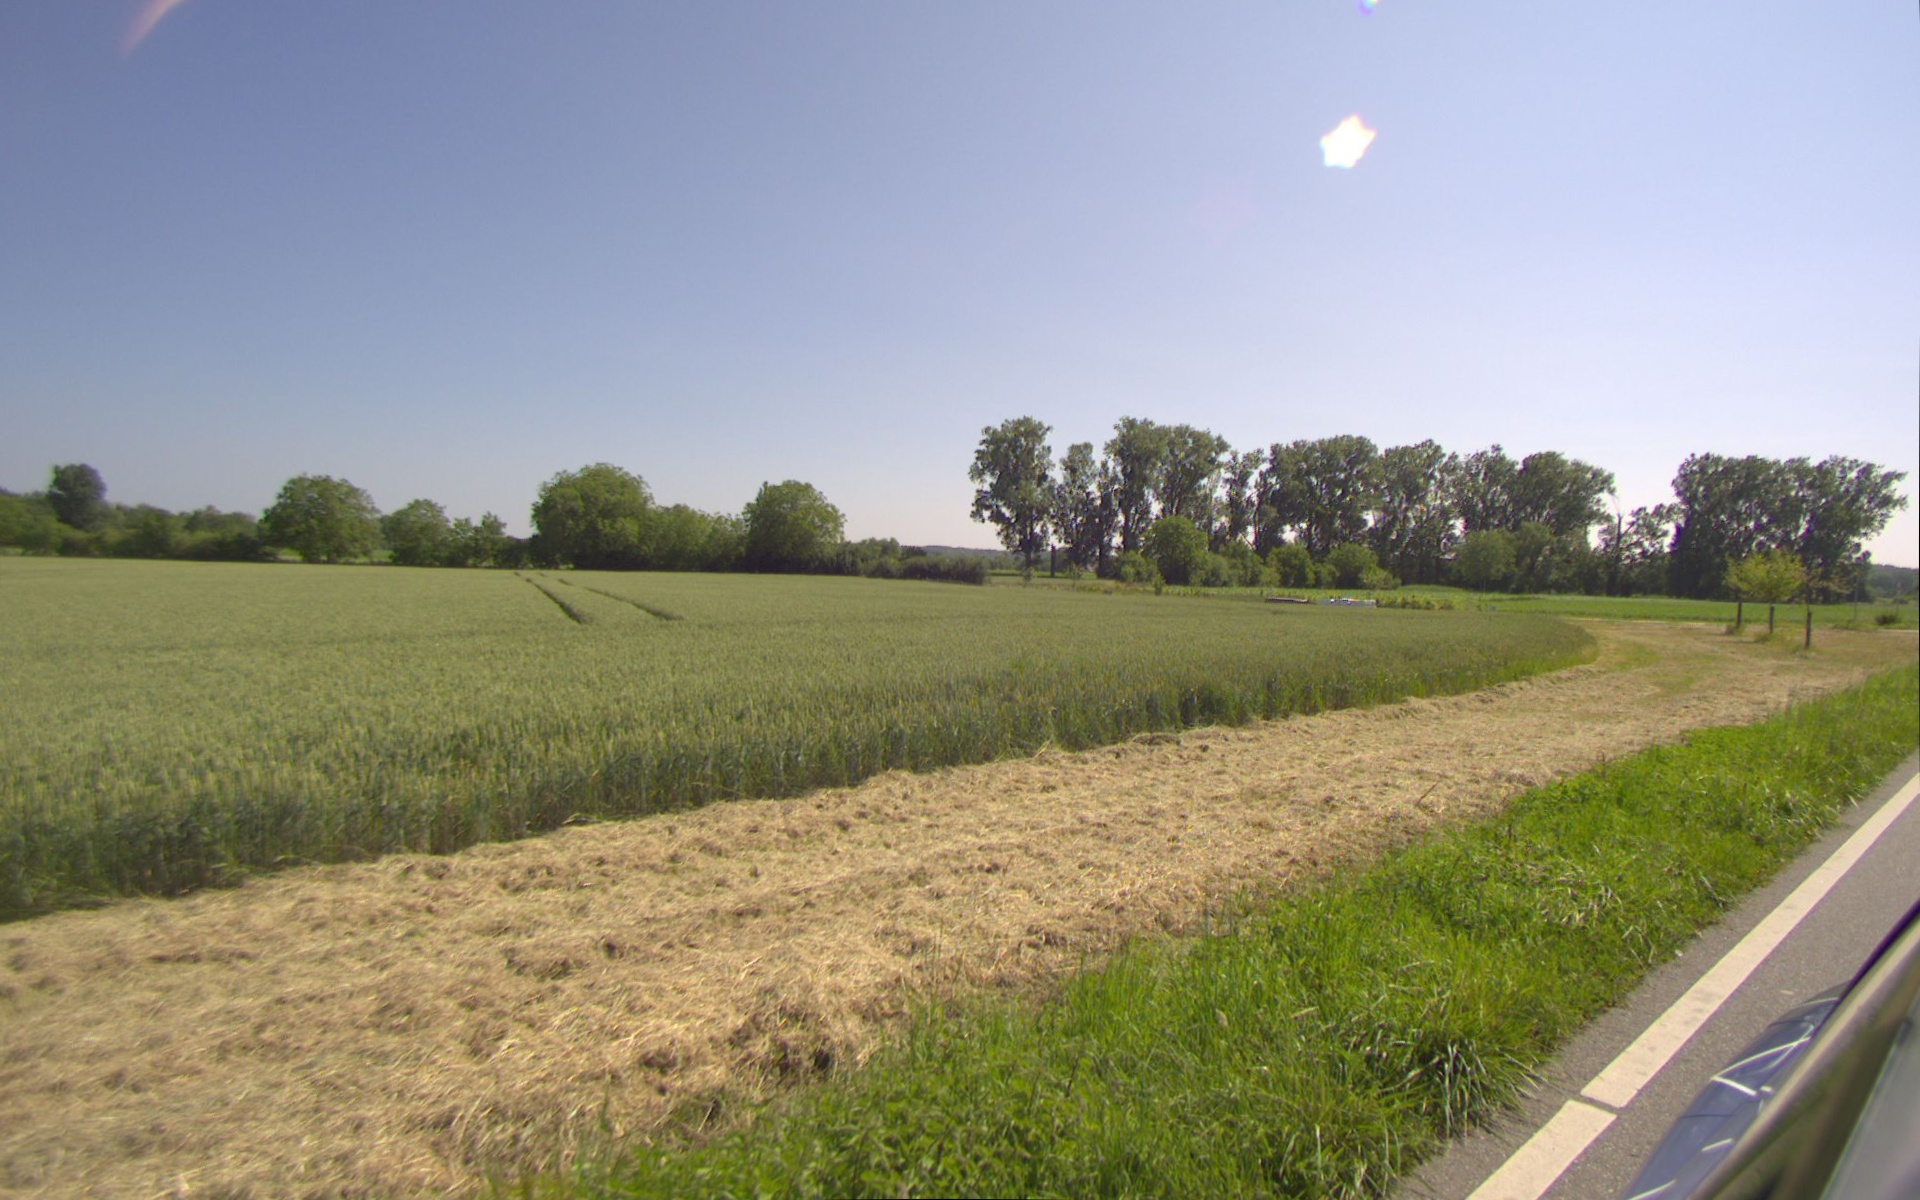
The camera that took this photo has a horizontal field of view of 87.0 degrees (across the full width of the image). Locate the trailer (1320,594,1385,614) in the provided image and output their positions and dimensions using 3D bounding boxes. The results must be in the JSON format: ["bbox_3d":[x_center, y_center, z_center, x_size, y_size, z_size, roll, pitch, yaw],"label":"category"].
[{"bbox_3d":[24.321,0.215,62.797,1.630,1.204,3.601,0,0,-29],"label":"trailer"}]

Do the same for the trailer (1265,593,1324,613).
[{"bbox_3d":[22.145,0.174,67.008,1.630,1.204,3.554,0,1,-29],"label":"trailer"}]
